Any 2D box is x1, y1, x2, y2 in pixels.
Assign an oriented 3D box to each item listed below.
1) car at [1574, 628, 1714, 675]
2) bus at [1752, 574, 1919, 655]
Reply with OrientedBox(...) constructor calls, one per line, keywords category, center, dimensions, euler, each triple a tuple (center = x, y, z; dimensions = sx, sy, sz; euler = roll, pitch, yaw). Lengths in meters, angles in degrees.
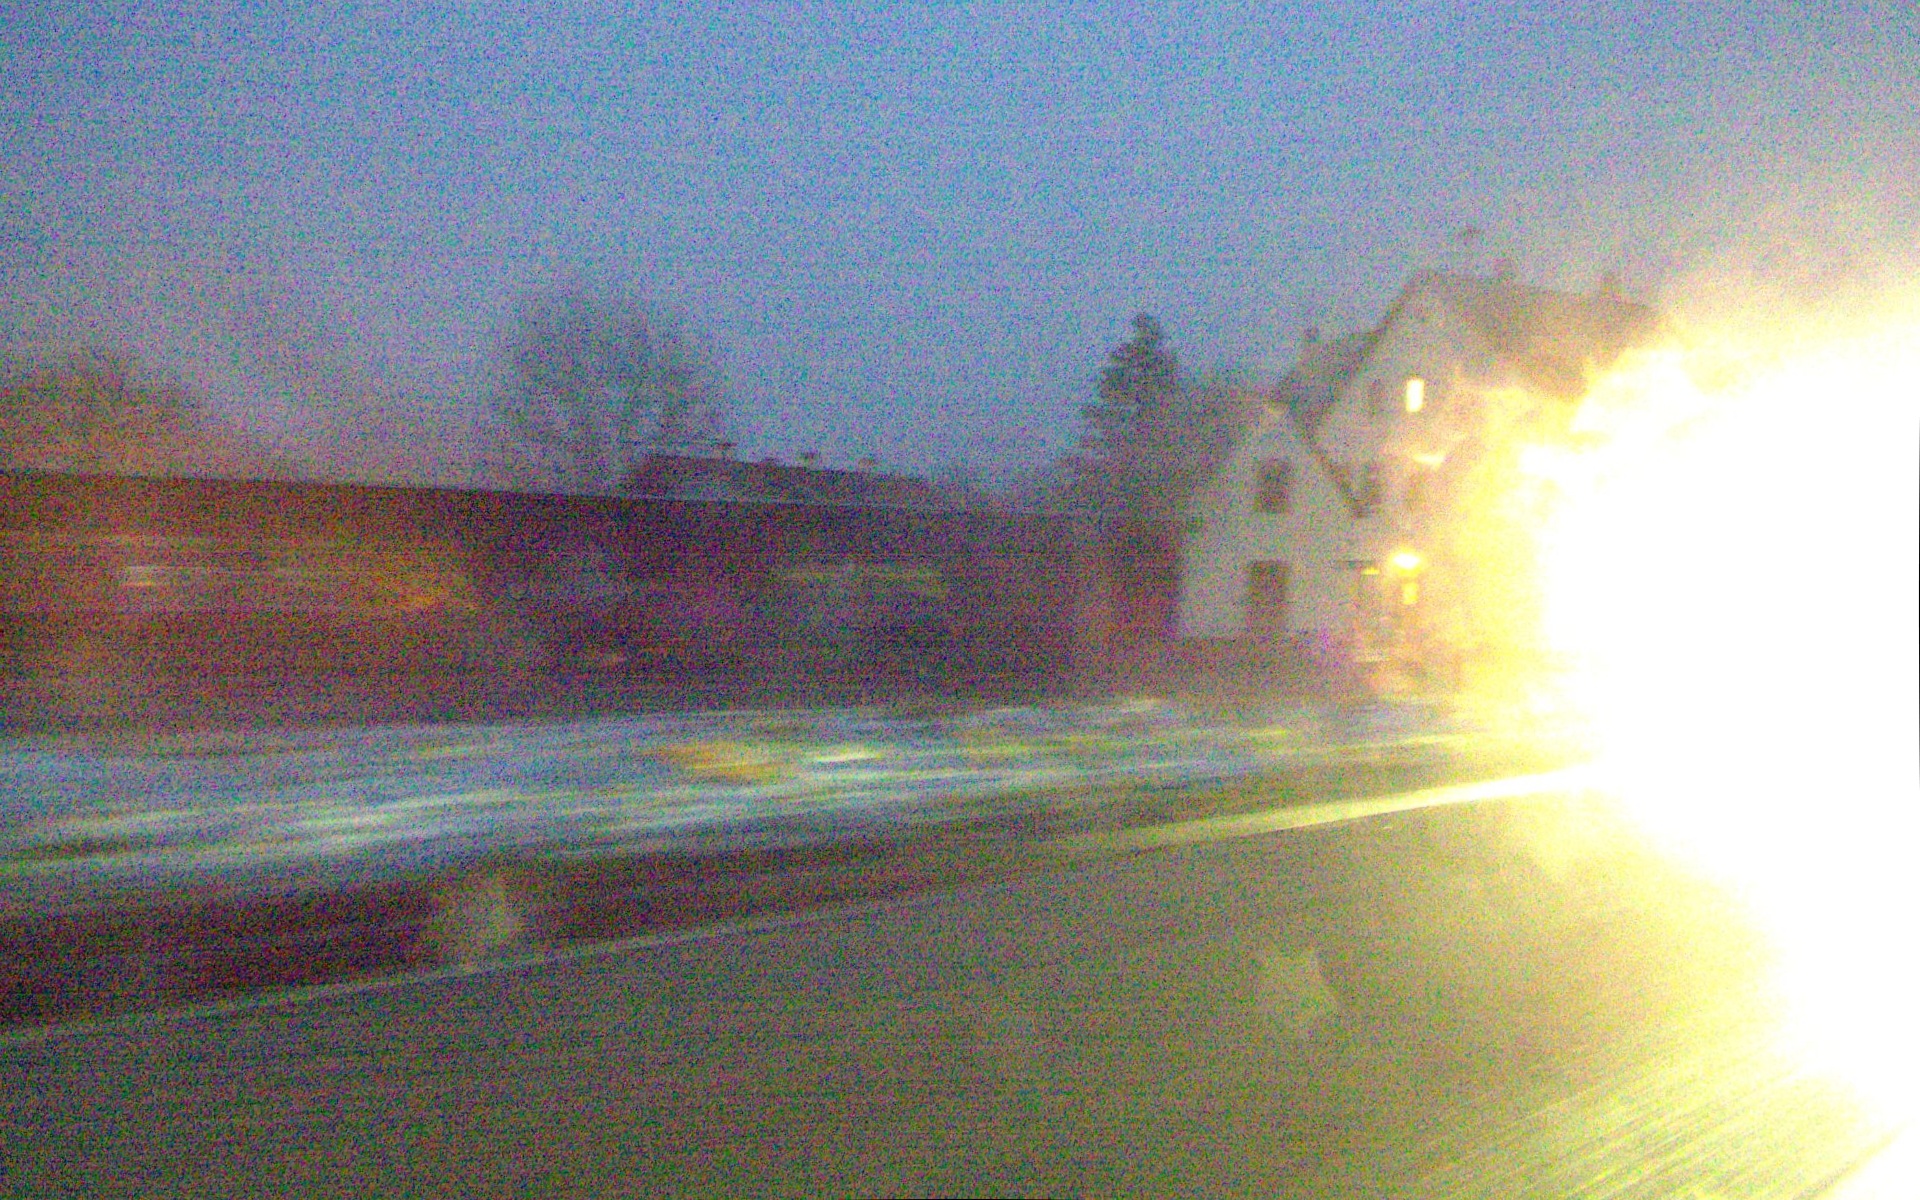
OrientedBox(category="car", center=(22.016, 1.633, 32.339), dimensions=(4.088, 1.416, 1.686), euler=(0, -2, -21))
OrientedBox(category="bus", center=(47.626, 0.676, 55.244), dimensions=(2.846, 3.920, 13.053), euler=(1, 1, 22))
